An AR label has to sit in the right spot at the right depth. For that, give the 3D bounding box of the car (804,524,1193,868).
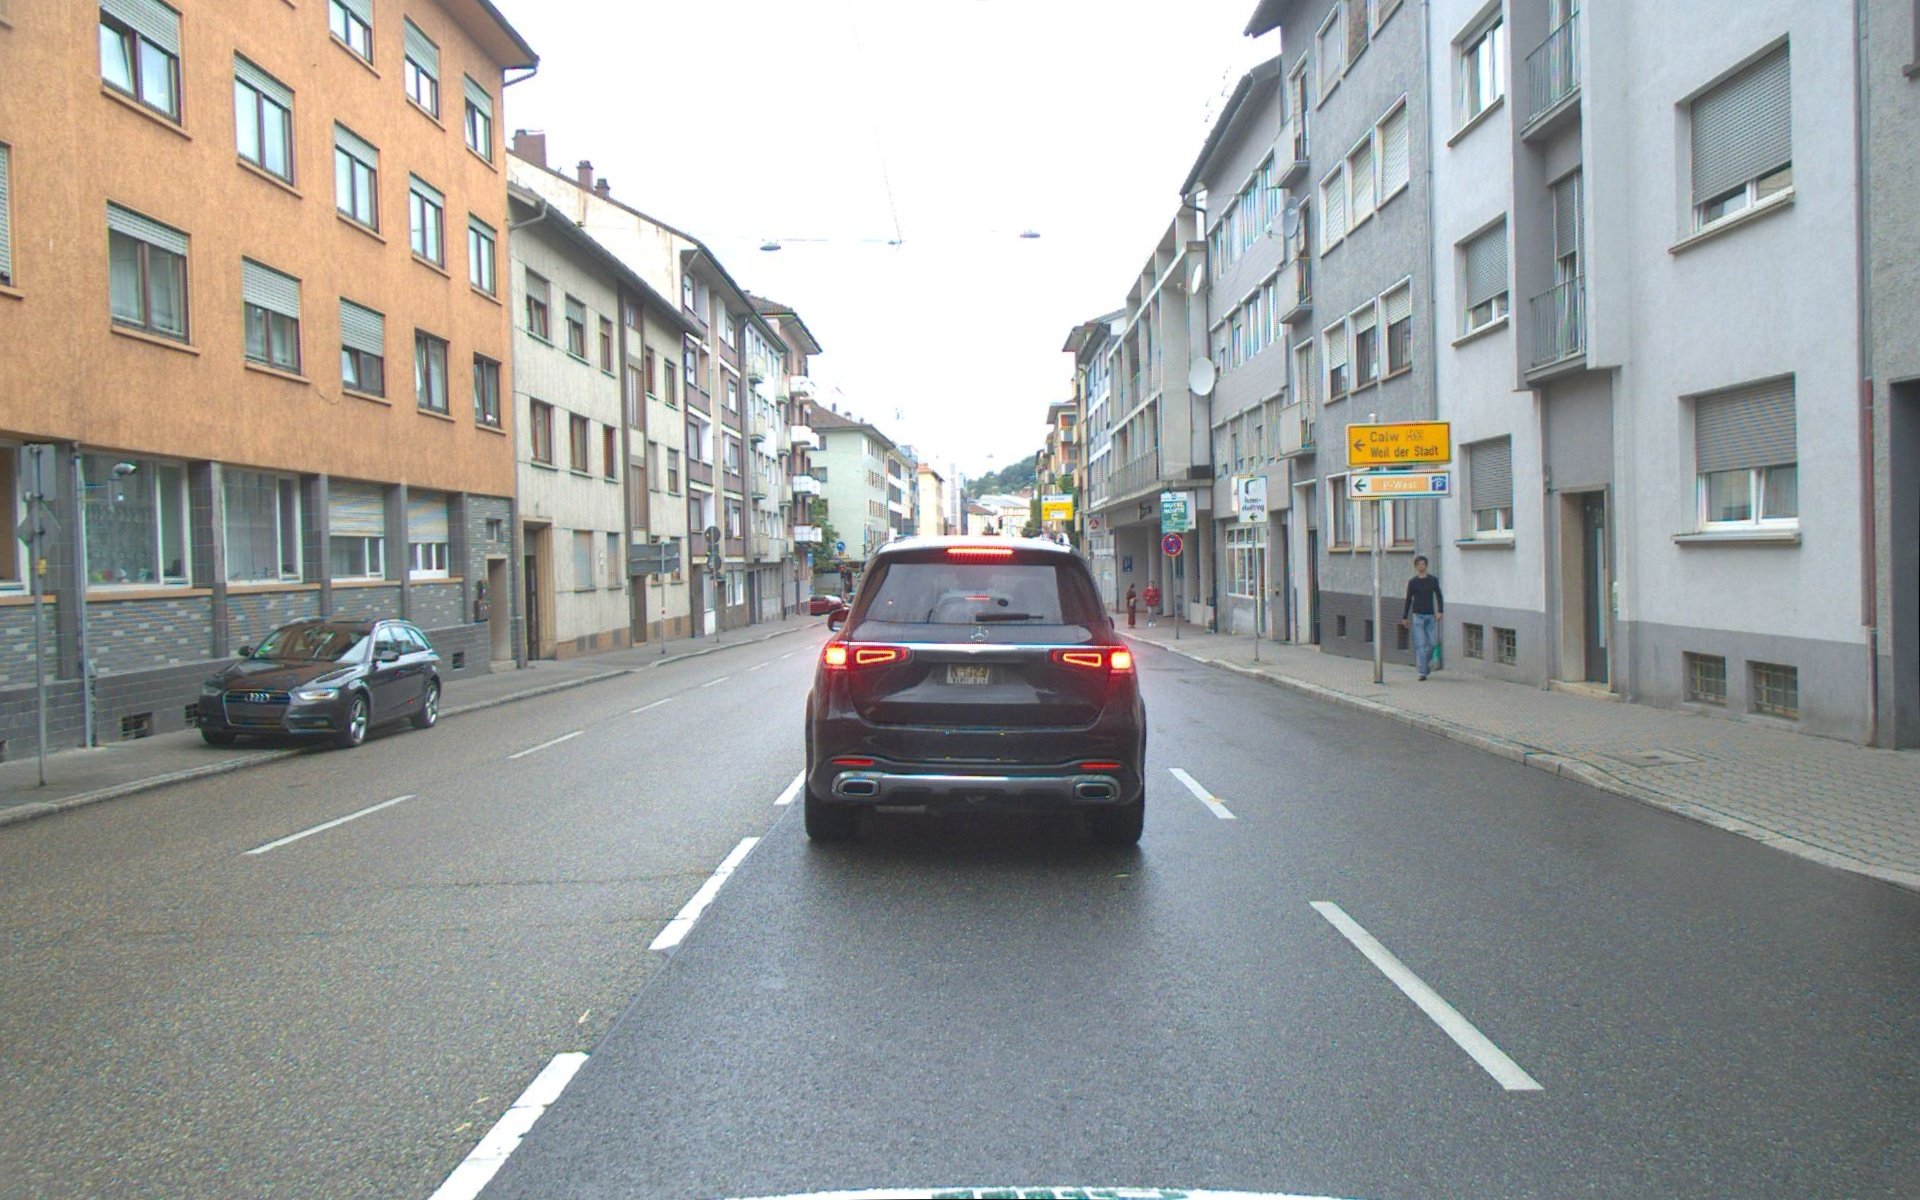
[{"bbox_3d":[0.168,0.454,10.981,2.034,1.796,4.610,0,1,-1],"label":"car"}]

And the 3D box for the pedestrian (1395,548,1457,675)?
[{"bbox_3d":[6.804,0.161,24.162,0.642,1.782,0.742,-4,0,5],"label":"pedestrian"}]

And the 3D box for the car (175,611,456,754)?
[{"bbox_3d":[-7.925,0.941,20.850,1.853,1.484,4.548,0,1,-2],"label":"car"}]

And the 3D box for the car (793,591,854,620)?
[{"bbox_3d":[-9.647,0.391,117.009,3.902,2.049,2.002,0,1,12],"label":"car"}]

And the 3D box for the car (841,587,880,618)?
[{"bbox_3d":[-5.110,0.100,85.355,1.853,1.484,4.548,0,1,-2],"label":"car"}]

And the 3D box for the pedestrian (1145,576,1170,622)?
[{"bbox_3d":[7.010,-0.044,58.736,0.803,1.592,0.900,0,1,3],"label":"pedestrian"}]

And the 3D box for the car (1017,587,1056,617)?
[{"bbox_3d":[3.892,0.089,84.821,1.699,1.412,4.582,0,1,-1],"label":"car"}]

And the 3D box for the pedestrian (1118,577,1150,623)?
[{"bbox_3d":[6.188,-0.002,58.815,0.811,1.592,0.892,-1,1,-26],"label":"pedestrian"}]

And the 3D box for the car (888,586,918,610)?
[{"bbox_3d":[-3.649,-0.135,106.939,1.853,1.484,4.549,0,1,-1],"label":"car"}]
